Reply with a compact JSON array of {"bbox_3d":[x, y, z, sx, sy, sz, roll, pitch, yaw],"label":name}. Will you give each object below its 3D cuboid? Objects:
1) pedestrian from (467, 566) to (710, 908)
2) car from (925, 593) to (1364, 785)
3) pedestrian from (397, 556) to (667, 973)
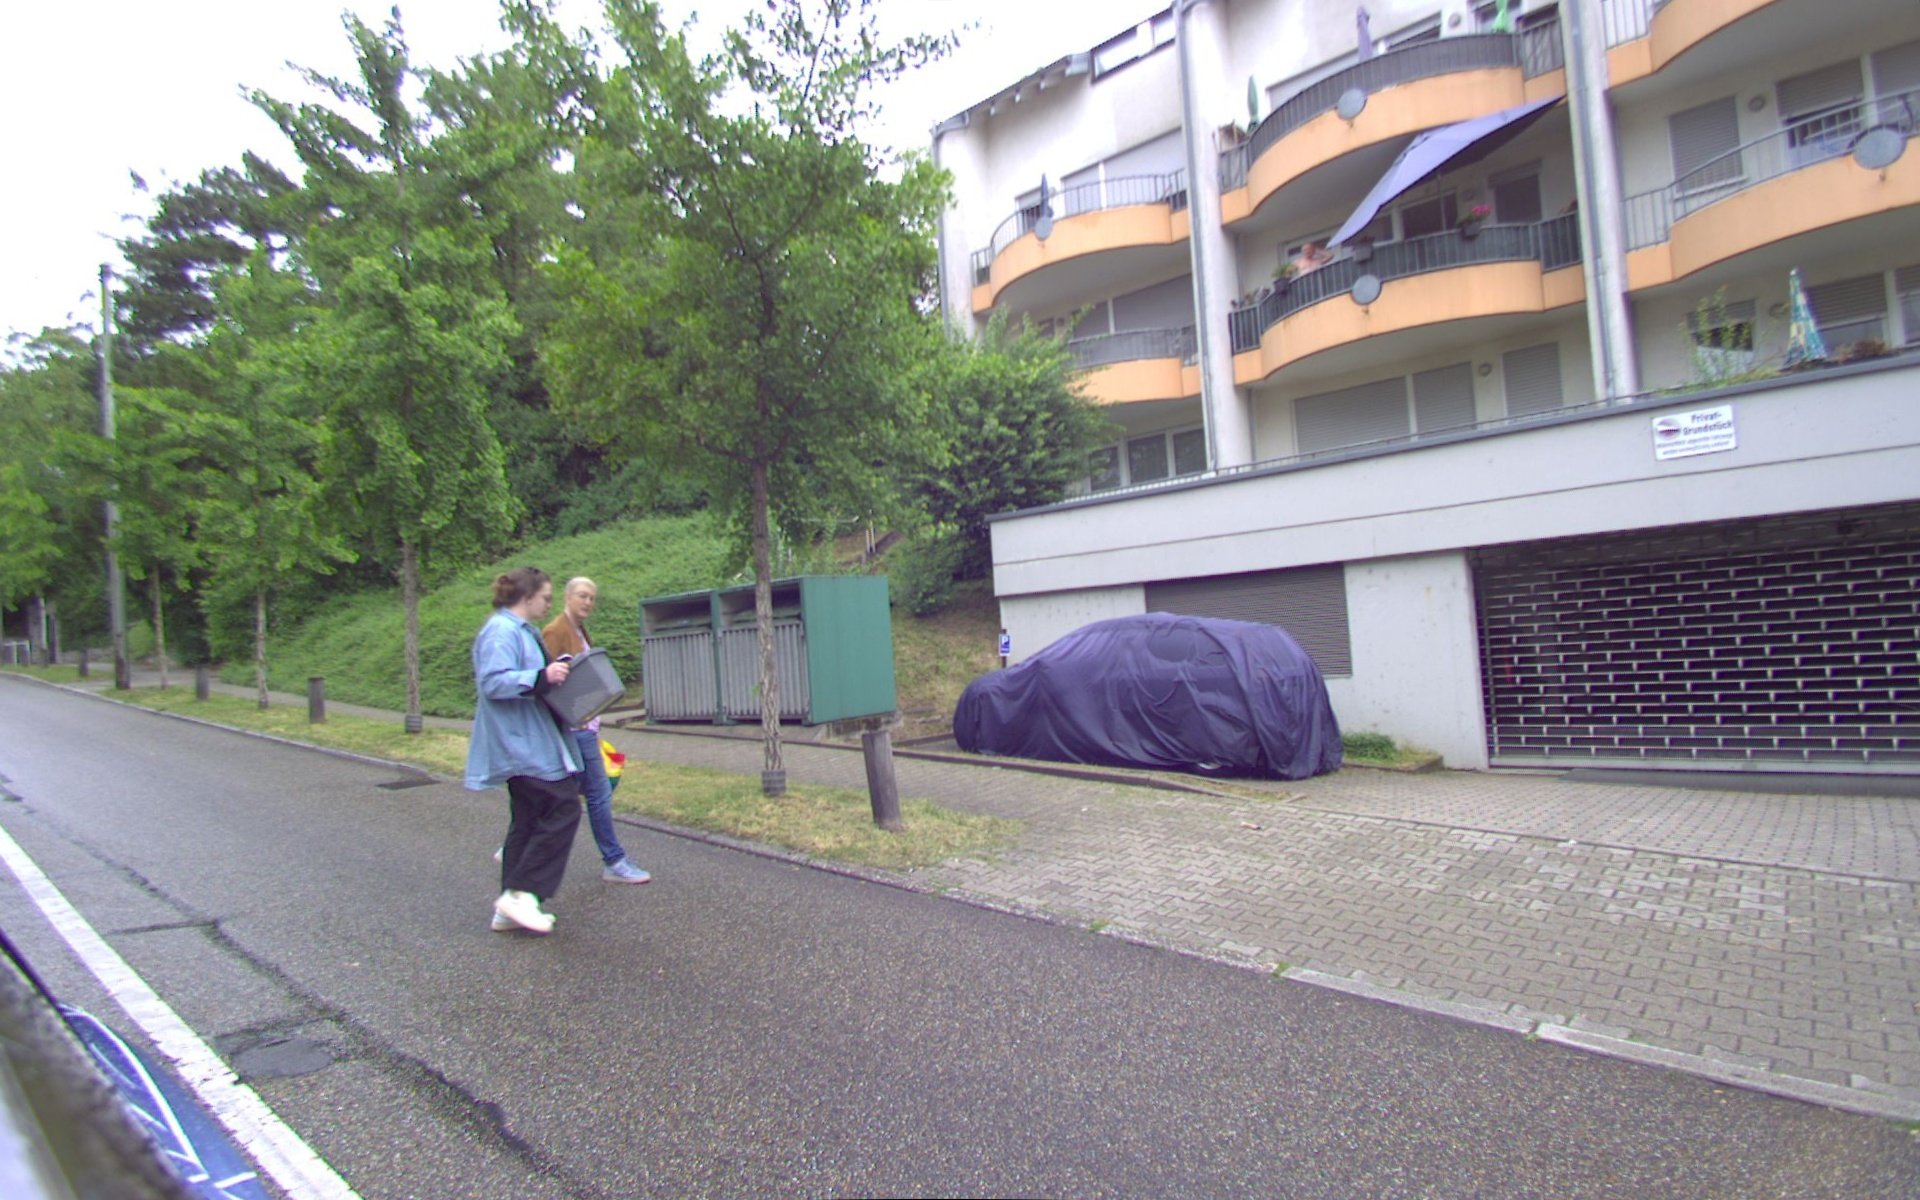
[{"bbox_3d":[-2.148,0.730,5.911,1.066,1.795,0.818,-1,-1,22],"label":"pedestrian"},{"bbox_3d":[1.743,0.830,10.348,4.096,1.573,1.759,-2,-5,41],"label":"car"},{"bbox_3d":[-2.072,0.708,4.988,1.055,1.795,0.827,-3,1,-22],"label":"pedestrian"}]
